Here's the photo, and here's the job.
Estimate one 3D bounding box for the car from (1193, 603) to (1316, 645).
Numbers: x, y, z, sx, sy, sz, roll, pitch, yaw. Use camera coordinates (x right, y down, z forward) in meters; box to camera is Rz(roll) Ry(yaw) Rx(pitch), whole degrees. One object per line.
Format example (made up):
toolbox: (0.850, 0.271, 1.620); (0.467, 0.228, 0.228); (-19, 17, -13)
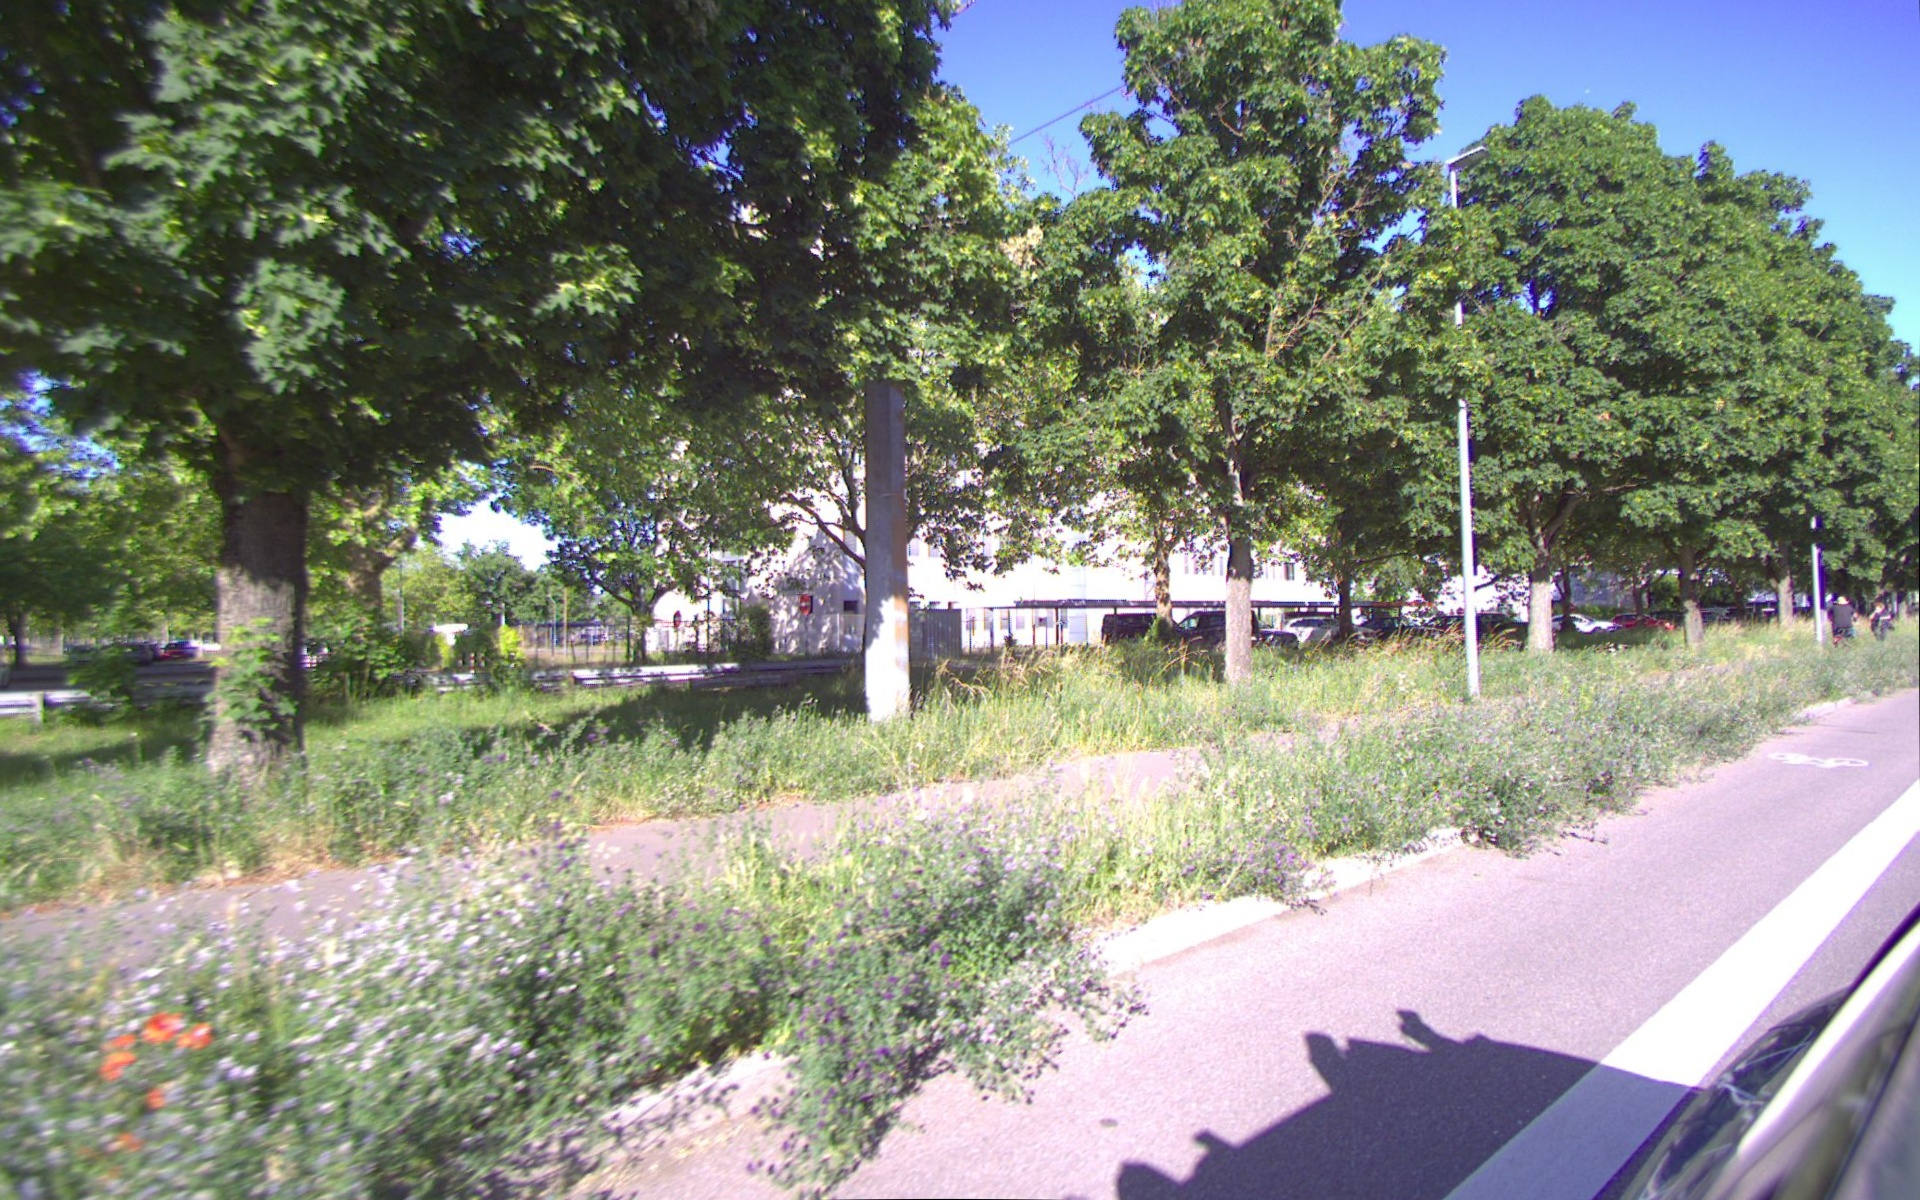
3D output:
car: (11.072, 0.892, 38.332); (1.657, 1.478, 4.369); (0, -1, -35)

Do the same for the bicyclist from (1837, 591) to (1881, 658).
bicyclist: (24.004, 0.645, 27.035); (0.886, 1.742, 0.684); (-1, -1, -39)

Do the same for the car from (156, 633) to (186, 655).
car: (-64.976, 3.654, 83.427); (1.797, 1.696, 4.228); (0, -2, -36)

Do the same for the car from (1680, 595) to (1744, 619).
car: (54.897, 0.565, 73.974); (1.691, 1.660, 3.985); (-2, -1, 1)

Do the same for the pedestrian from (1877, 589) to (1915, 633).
pedestrian: (33.804, 0.401, 36.560); (0.748, 1.589, 0.826); (0, -2, -37)

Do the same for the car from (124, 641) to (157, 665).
car: (-55.362, 3.536, 68.400); (1.705, 1.511, 3.995); (0, -2, -39)

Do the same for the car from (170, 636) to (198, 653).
car: (-70.988, 4.095, 92.525); (1.800, 1.481, 4.222); (0, -2, -41)

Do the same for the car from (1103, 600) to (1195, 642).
car: (9.719, 1.086, 52.350); (1.921, 2.039, 4.597); (0, -1, -37)

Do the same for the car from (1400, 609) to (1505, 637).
car: (24.316, 1.119, 50.131); (1.902, 1.341, 4.307); (1, -1, -33)

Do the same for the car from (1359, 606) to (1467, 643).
car: (20.060, 1.085, 44.912); (1.677, 1.545, 3.999); (0, -1, -41)

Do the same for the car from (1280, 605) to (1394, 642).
car: (15.747, 1.020, 42.454); (1.790, 1.450, 4.177); (0, -2, -35)

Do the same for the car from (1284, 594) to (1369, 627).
car: (22.979, 0.689, 63.596); (1.938, 1.975, 4.759); (1, -2, -38)

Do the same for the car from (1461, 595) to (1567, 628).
car: (28.633, 0.613, 52.391); (1.851, 1.617, 4.397); (0, -1, -41)

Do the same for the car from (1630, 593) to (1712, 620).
car: (47.765, 0.457, 68.040); (4.332, 1.722, 1.739); (-1, -1, 43)

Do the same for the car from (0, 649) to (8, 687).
car: (-37.833, 2.633, 38.754); (1.800, 1.417, 4.516); (0, -2, -41)

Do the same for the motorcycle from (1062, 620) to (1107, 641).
motorcycle: (8.309, 2.057, 67.583); (1.000, 1.338, 3.035); (0, -2, -44)

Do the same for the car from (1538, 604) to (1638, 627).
car: (37.018, 0.932, 59.738); (1.775, 1.287, 4.705); (1, -2, -40)

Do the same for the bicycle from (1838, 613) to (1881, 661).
bicycle: (24.049, 0.971, 27.042); (2.104, 1.220, 0.484); (0, -2, -39)

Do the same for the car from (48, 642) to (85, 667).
car: (-58.295, 3.556, 66.063); (1.800, 1.481, 4.222); (0, -2, -41)

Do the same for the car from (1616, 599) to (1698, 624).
car: (45.782, 0.748, 66.510); (4.228, 1.555, 1.739); (-1, -1, 43)

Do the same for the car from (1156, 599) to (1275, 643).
car: (9.315, 0.781, 37.202); (1.706, 1.524, 4.039); (0, -1, -37)

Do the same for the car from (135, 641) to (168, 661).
car: (-62.230, 3.918, 77.858); (1.800, 1.481, 4.222); (0, -2, -41)
